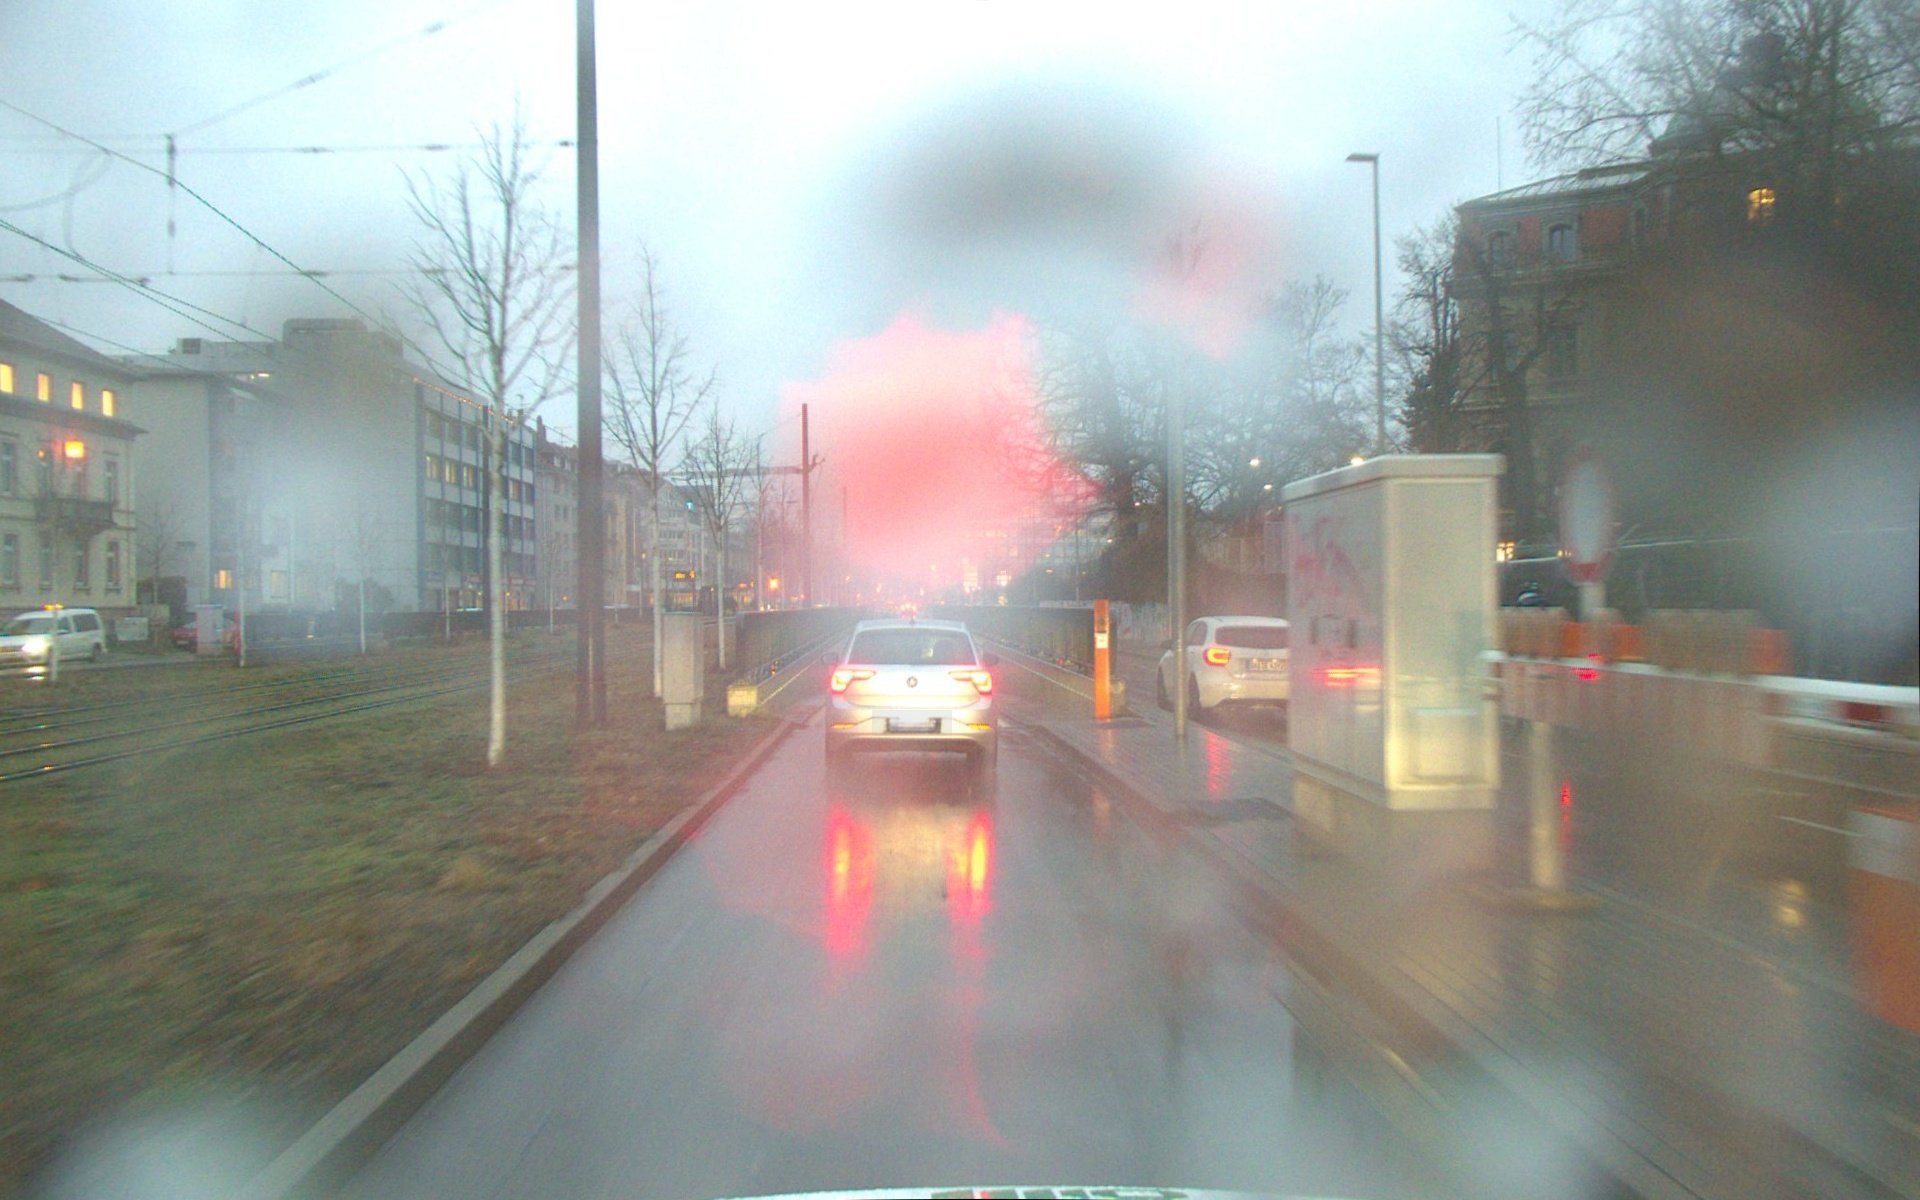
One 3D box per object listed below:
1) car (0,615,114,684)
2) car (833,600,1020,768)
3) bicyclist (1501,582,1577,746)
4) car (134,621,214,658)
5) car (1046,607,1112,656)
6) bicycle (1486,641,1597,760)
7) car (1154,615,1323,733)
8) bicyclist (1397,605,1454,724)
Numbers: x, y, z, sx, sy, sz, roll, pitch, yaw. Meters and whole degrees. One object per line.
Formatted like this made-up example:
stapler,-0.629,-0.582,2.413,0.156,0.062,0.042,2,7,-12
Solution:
car,-28.736,1.518,52.032,1.954,1.967,4.908,-1,0,-4
car,-0.317,0.801,17.217,1.687,1.505,3.999,1,-1,0
bicyclist,6.510,0.700,18.623,0.490,1.798,0.836,-1,0,-4
car,-33.874,1.695,71.416,1.770,1.461,3.924,-1,0,-4
car,3.390,0.891,47.680,1.590,1.322,3.999,1,-1,0
bicycle,6.459,1.084,18.469,0.403,1.206,2.027,-1,0,-4
car,3.871,0.993,23.601,1.687,1.505,3.999,1,-1,0
bicyclist,6.490,0.884,23.079,0.490,1.619,0.836,-1,0,-4
